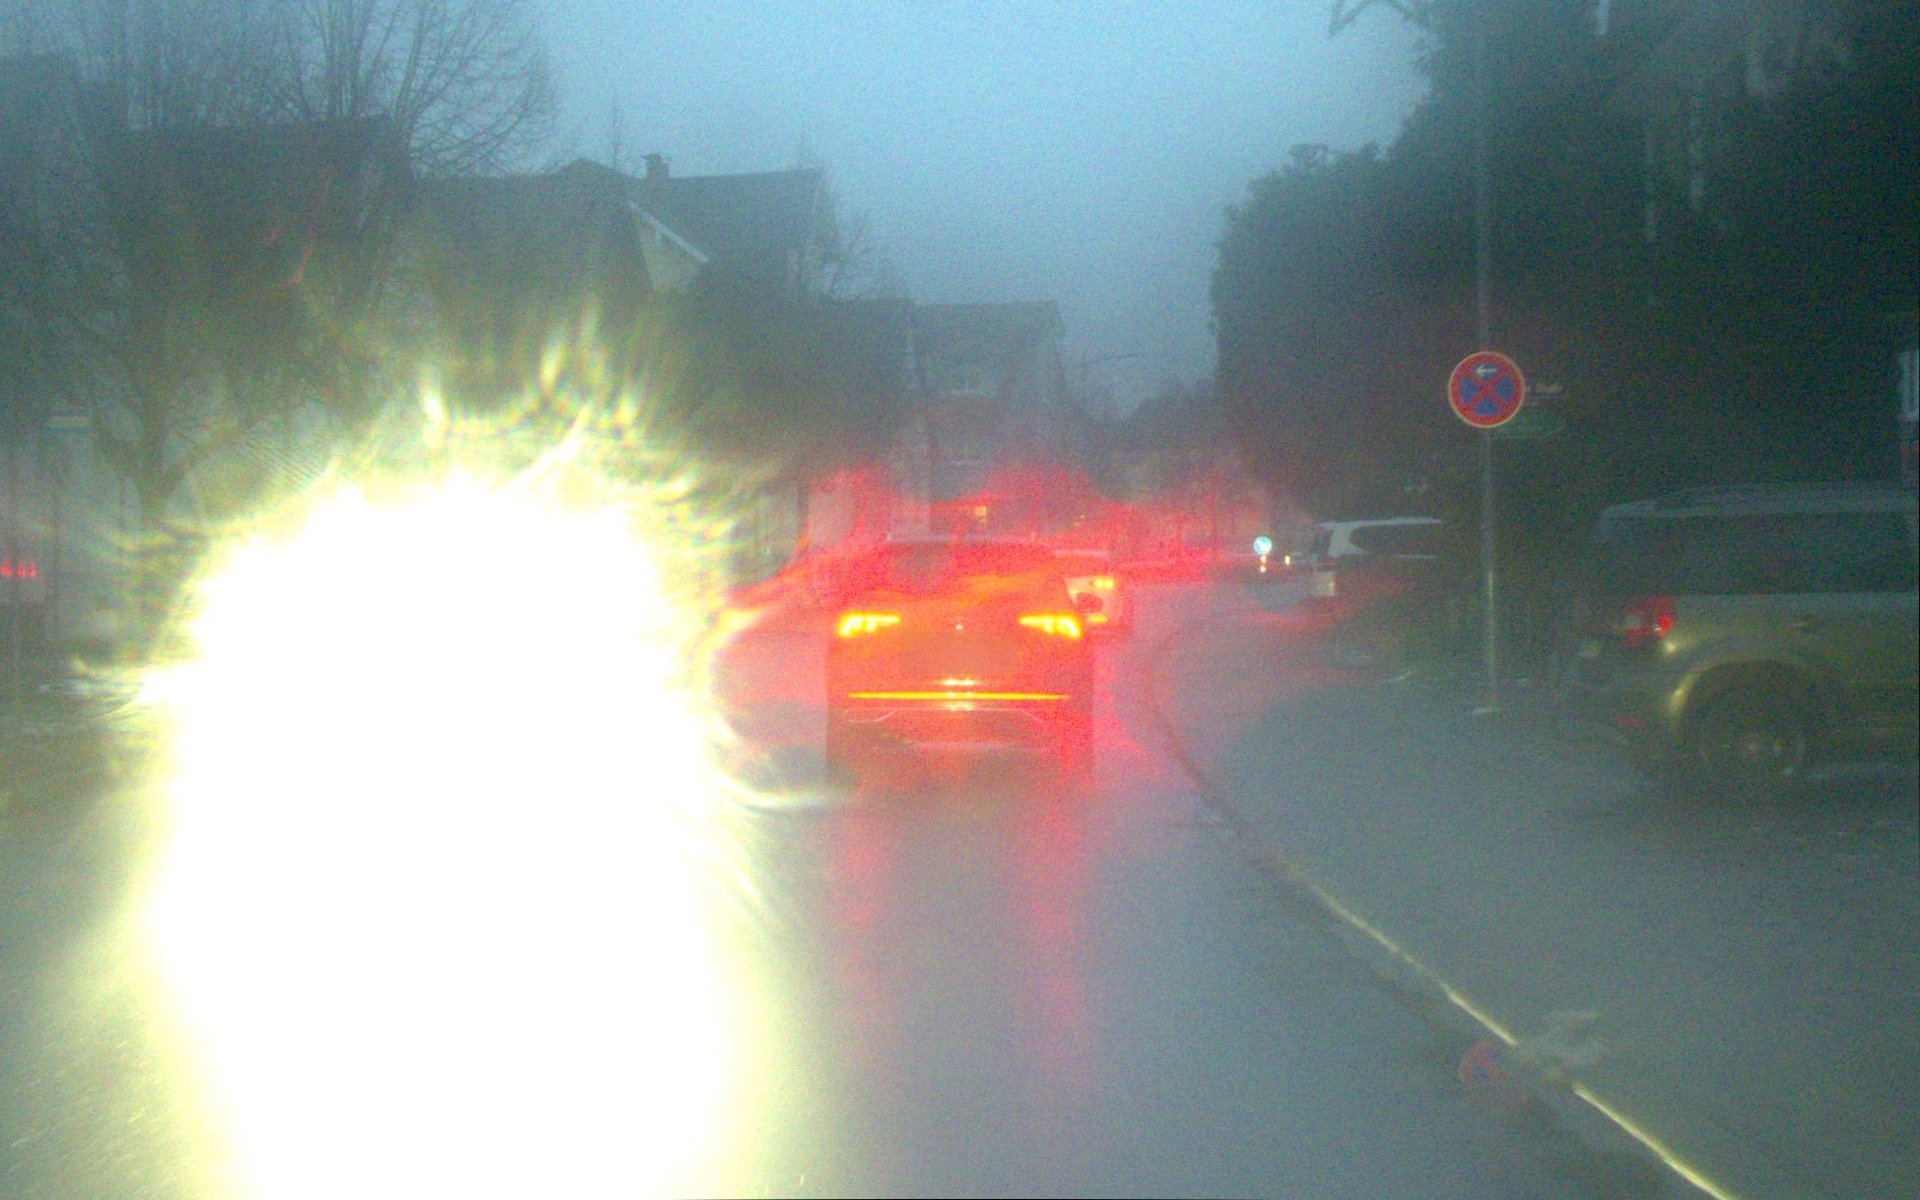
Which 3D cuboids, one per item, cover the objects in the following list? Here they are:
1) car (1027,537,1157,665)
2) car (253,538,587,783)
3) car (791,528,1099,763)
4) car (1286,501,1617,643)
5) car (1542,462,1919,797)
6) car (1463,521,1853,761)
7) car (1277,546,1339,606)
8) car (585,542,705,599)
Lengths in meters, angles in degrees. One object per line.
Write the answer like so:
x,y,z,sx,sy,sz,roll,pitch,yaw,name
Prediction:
2.128,-0.004,56.454,1.993,2.007,4.000,0,1,0,car
-3.954,0.381,25.829,1.814,1.627,4.225,-2,1,0,car
-0.149,0.265,24.253,1.993,1.520,4.000,0,1,-1,car
6.861,-0.403,48.342,4.322,1.726,2.000,-3,1,1,car
5.359,0.143,18.511,4.102,1.700,2.000,0,0,0,car
4.915,0.227,24.871,1.893,1.549,4.756,-1,1,1,car
12.086,-0.857,119.509,1.994,2.007,4.000,-1,1,5,car
-7.732,-0.728,84.684,1.783,1.361,3.998,0,1,13,car
